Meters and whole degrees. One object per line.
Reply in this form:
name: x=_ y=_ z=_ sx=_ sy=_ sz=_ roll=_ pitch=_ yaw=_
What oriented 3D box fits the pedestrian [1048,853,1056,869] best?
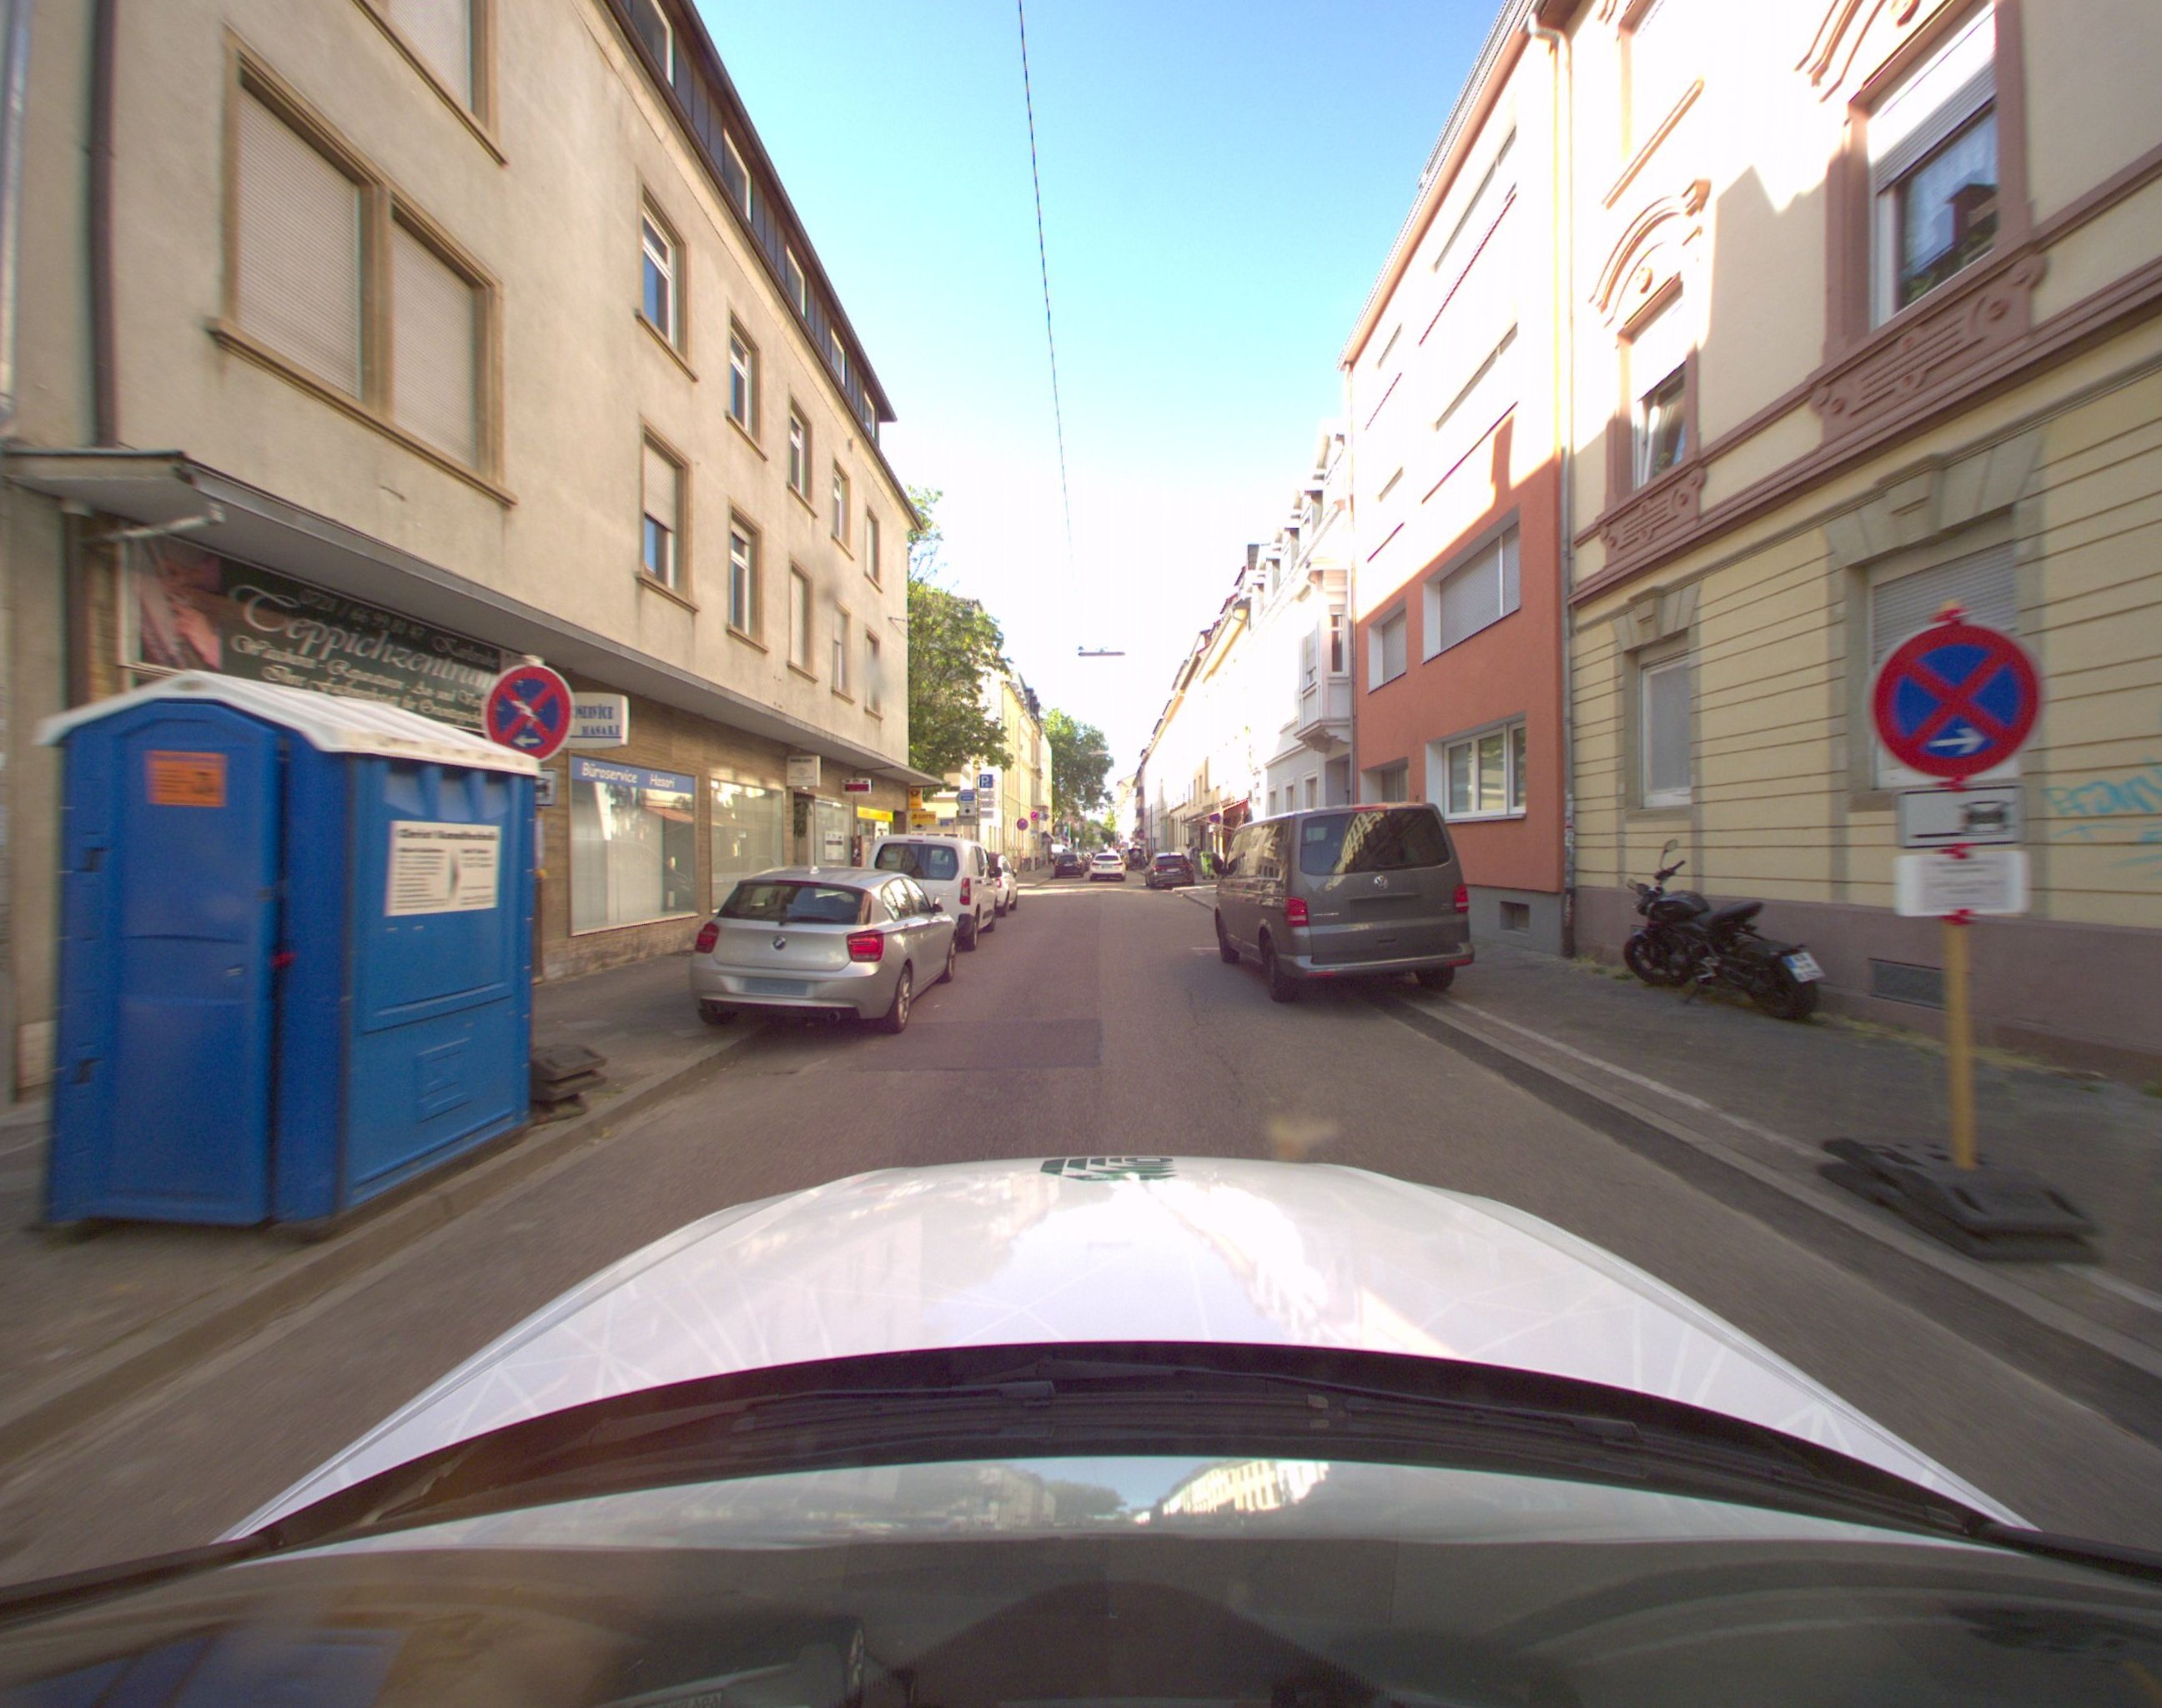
pedestrian: x=-2.644 y=0.636 z=74.272 sx=0.625 sy=1.464 sz=0.575 roll=-1 pitch=-1 yaw=1

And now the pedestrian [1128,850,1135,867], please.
pedestrian: x=4.542 y=0.404 z=73.489 sx=0.625 sy=1.464 sz=0.575 roll=-1 pitch=-1 yaw=1

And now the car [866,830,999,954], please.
car: x=-2.444 y=0.566 z=14.282 sx=1.642 sy=1.867 sz=3.998 roll=0 pitch=0 yaw=-1

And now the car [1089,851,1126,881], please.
car: x=1.408 y=0.605 z=42.759 sx=1.827 sy=1.486 sz=4.059 roll=-1 pitch=0 yaw=2

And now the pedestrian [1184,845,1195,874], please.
pedestrian: x=6.390 y=0.336 z=47.947 sx=0.524 sy=1.727 sz=0.492 roll=-1 pitch=-1 yaw=17

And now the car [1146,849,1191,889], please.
car: x=3.636 y=0.600 z=34.382 sx=1.641 sy=1.576 sz=3.680 roll=0 pitch=0 yaw=2

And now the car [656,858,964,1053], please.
car: x=-2.410 y=0.800 z=8.378 sx=1.752 sy=1.415 sz=4.000 roll=-2 pitch=0 yaw=0

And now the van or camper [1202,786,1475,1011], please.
van or camper: x=2.752 y=0.420 z=9.892 sx=1.770 sy=2.036 sz=4.568 roll=-2 pitch=0 yaw=-1

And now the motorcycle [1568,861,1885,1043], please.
motorcycle: x=5.313 y=0.694 z=7.045 sx=0.594 sy=1.186 sz=2.762 roll=-5 pitch=0 yaw=3

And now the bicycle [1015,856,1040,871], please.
bicycle: x=-4.125 y=0.710 z=63.003 sx=1.962 sy=1.115 sz=0.507 roll=0 pitch=0 yaw=-33

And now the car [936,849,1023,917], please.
car: x=-2.507 y=0.680 z=20.854 sx=1.641 sy=1.576 sz=3.680 roll=0 pitch=0 yaw=2

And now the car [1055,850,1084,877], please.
car: x=-0.650 y=0.548 z=49.632 sx=1.618 sy=1.597 sz=3.582 roll=0 pitch=0 yaw=2

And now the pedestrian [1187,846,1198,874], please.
pedestrian: x=6.813 y=0.379 z=49.781 sx=0.524 sy=1.727 sz=0.492 roll=-1 pitch=-1 yaw=17

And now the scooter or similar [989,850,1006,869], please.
scooter or similar: x=-6.888 y=0.436 z=67.254 sx=0.505 sy=1.558 sz=1.617 roll=0 pitch=0 yaw=33

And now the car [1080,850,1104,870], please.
car: x=0.835 y=0.511 z=66.551 sx=1.861 sy=1.561 sz=4.519 roll=0 pitch=0 yaw=-1

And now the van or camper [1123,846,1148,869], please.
van or camper: x=4.780 y=0.341 z=72.010 sx=1.986 sy=1.926 sz=4.001 roll=-1 pitch=-1 yaw=2
